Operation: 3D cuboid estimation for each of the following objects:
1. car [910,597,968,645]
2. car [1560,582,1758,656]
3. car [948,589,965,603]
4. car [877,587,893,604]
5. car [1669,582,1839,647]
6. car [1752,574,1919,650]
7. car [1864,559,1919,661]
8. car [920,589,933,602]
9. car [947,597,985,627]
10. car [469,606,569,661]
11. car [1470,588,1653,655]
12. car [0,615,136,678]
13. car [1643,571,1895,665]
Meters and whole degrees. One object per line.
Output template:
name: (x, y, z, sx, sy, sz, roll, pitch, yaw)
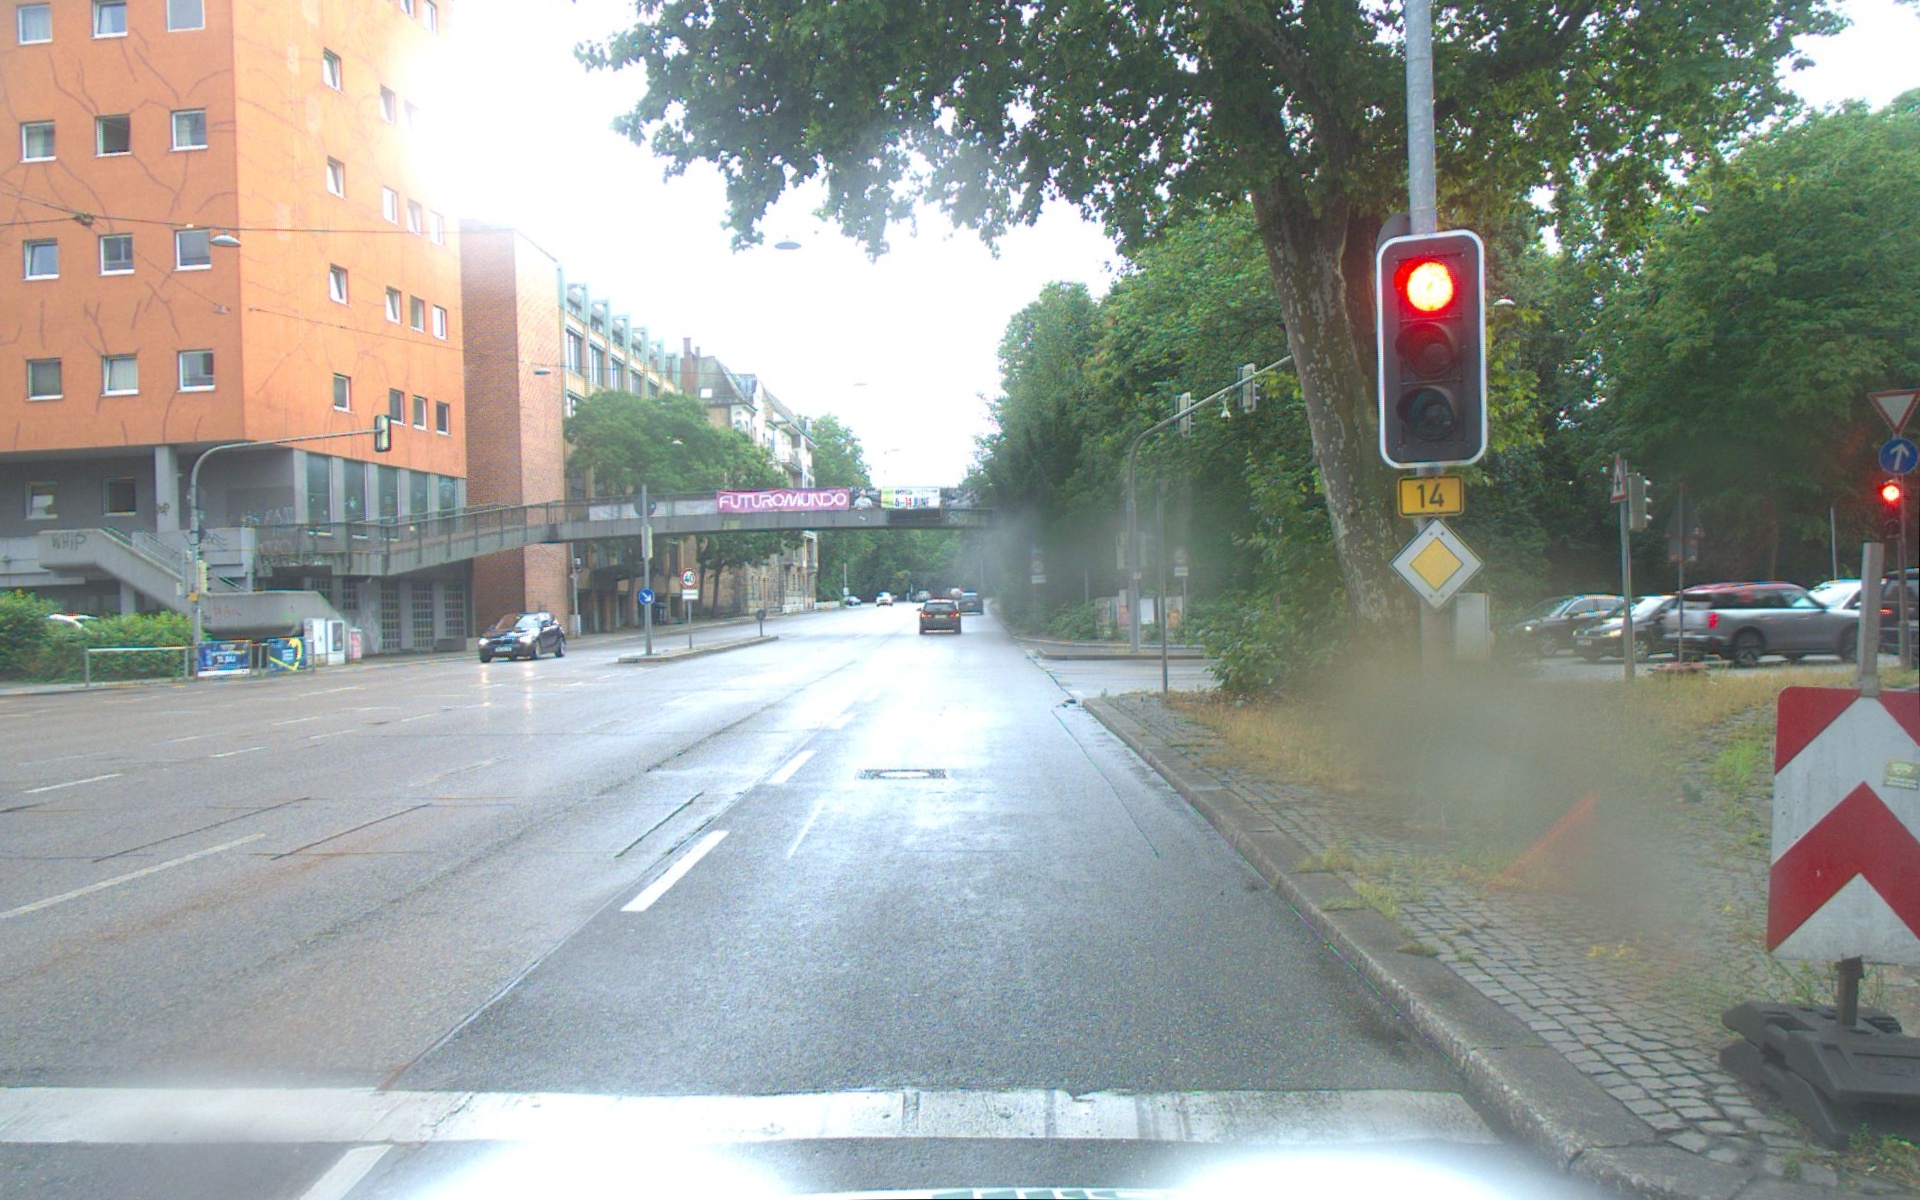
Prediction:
car: (-0.923, 0.909, 71.081, 2.088, 1.868, 4.348, -3, 0, -5)
car: (15.365, 0.416, 36.402, 3.791, 1.511, 1.665, -1, -1, -16)
car: (-0.531, -0.547, 220.761, 2.078, 1.765, 4.196, 0, 1, -3)
car: (-9.183, -0.551, 201.837, 1.728, 1.959, 3.704, -3, 0, -1)
car: (19.974, 0.342, 41.623, 3.768, 1.512, 1.734, -1, 0, -21)
car: (20.590, 0.268, 38.489, 4.214, 1.512, 1.757, -3, 0, -30)
car: (20.084, 0.161, 31.585, 4.992, 1.878, 1.992, -1, 0, -16)
car: (-4.720, -0.666, 234.584, 1.728, 1.726, 3.704, -3, 0, -1)
car: (0.386, 0.832, 113.598, 2.088, 1.868, 4.348, -3, 0, -5)
car: (-13.428, 0.996, 50.571, 1.953, 1.545, 3.999, -2, 0, 0)
car: (14.616, 0.505, 40.194, 3.929, 1.512, 1.867, -1, -1, -21)
car: (-26.911, 1.397, 49.108, 3.929, 1.646, 1.896, -3, 0, 8)
car: (16.516, 0.346, 33.827, 4.434, 1.666, 1.874, -2, 0, -14)
